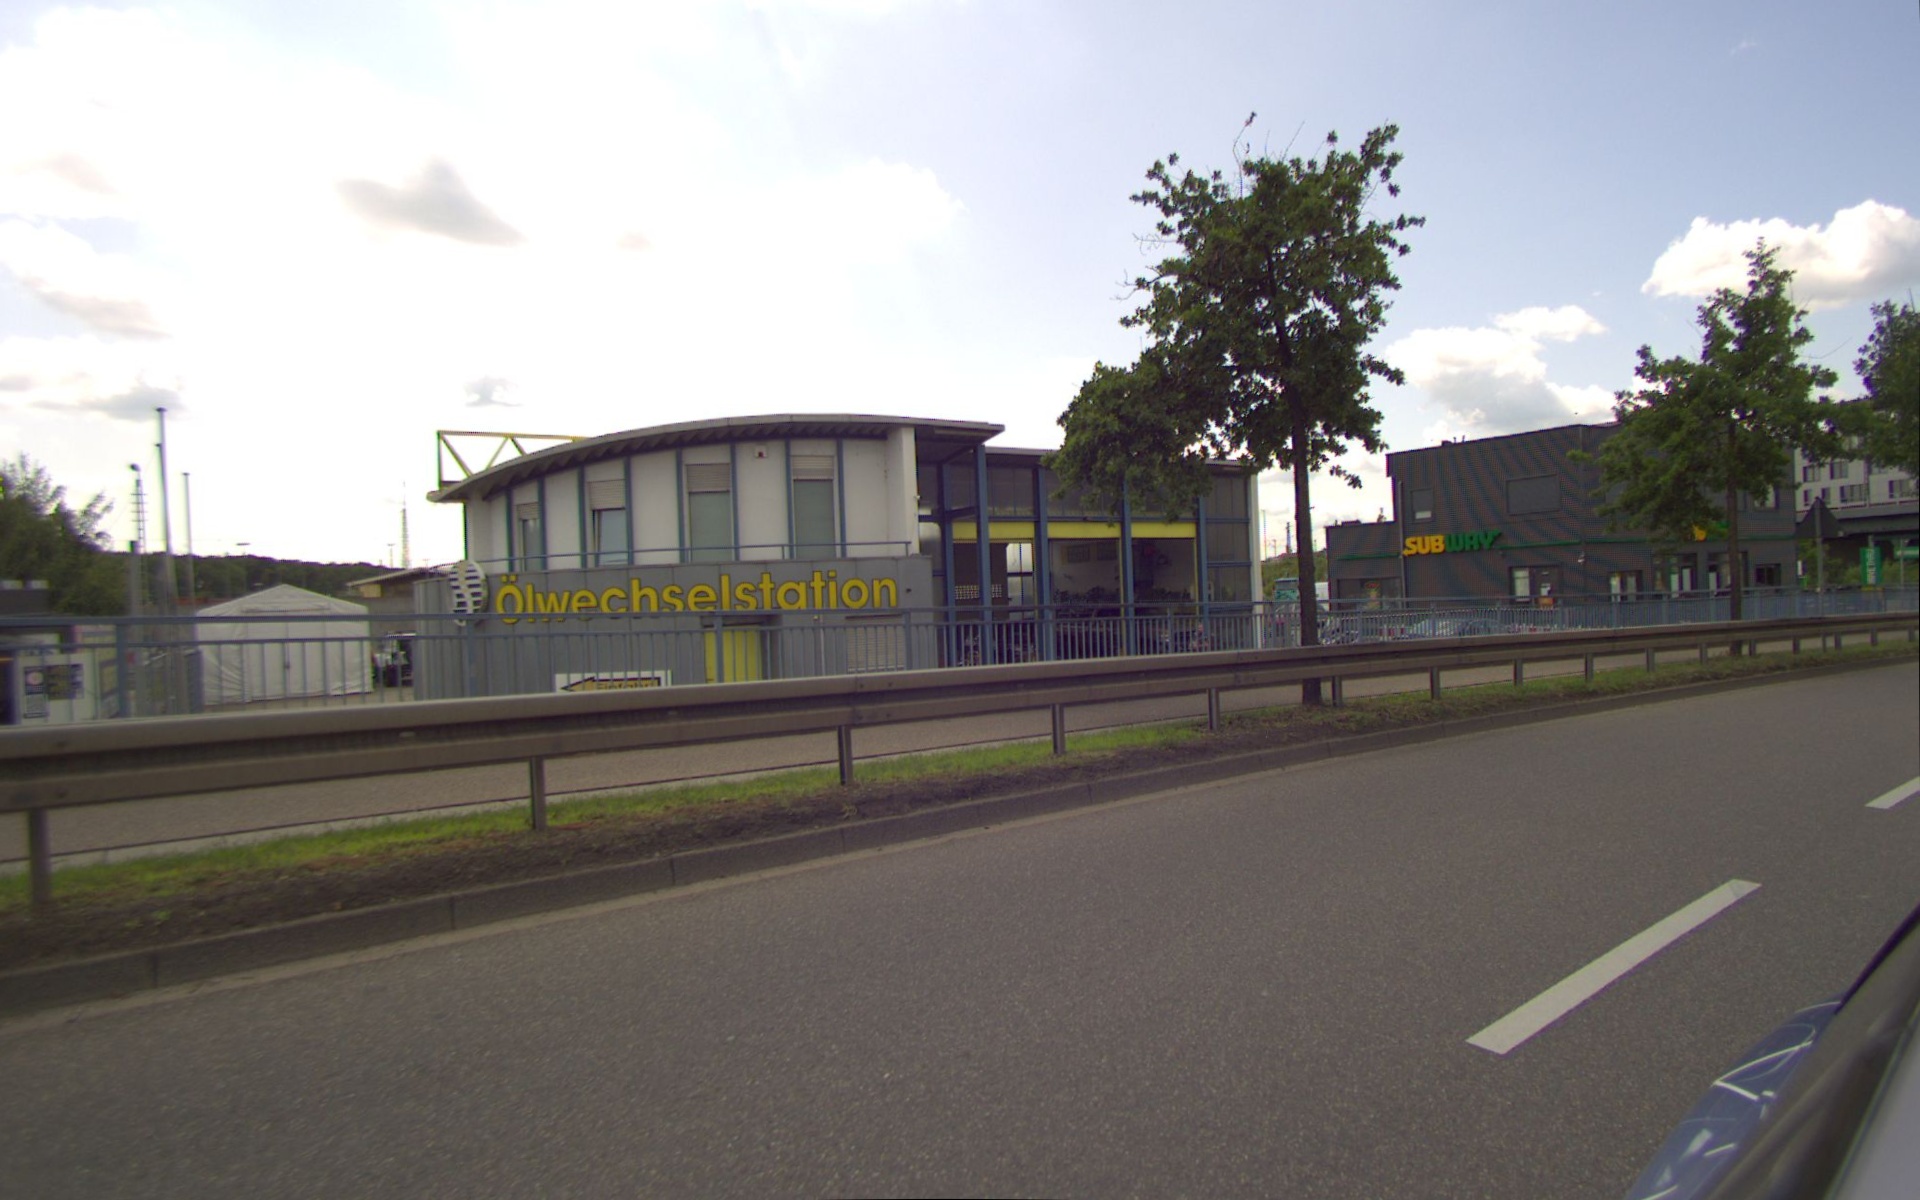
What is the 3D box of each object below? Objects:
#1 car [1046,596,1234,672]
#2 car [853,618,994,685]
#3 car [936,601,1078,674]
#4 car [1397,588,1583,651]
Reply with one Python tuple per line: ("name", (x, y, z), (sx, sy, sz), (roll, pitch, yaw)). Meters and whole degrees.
("car", (5.374, 0.971, 31.138), (2.191, 2.039, 5.821), (-3, 1, -35))
("car", (-1.185, 1.446, 29.863), (2.120, 1.650, 4.792), (-1, 1, -30))
("car", (1.382, 1.088, 31.822), (2.188, 2.039, 4.792), (-1, 1, -30))
("car", (13.360, 0.426, 25.464), (4.655, 1.376, 2.002), (-1, 1, -31))
